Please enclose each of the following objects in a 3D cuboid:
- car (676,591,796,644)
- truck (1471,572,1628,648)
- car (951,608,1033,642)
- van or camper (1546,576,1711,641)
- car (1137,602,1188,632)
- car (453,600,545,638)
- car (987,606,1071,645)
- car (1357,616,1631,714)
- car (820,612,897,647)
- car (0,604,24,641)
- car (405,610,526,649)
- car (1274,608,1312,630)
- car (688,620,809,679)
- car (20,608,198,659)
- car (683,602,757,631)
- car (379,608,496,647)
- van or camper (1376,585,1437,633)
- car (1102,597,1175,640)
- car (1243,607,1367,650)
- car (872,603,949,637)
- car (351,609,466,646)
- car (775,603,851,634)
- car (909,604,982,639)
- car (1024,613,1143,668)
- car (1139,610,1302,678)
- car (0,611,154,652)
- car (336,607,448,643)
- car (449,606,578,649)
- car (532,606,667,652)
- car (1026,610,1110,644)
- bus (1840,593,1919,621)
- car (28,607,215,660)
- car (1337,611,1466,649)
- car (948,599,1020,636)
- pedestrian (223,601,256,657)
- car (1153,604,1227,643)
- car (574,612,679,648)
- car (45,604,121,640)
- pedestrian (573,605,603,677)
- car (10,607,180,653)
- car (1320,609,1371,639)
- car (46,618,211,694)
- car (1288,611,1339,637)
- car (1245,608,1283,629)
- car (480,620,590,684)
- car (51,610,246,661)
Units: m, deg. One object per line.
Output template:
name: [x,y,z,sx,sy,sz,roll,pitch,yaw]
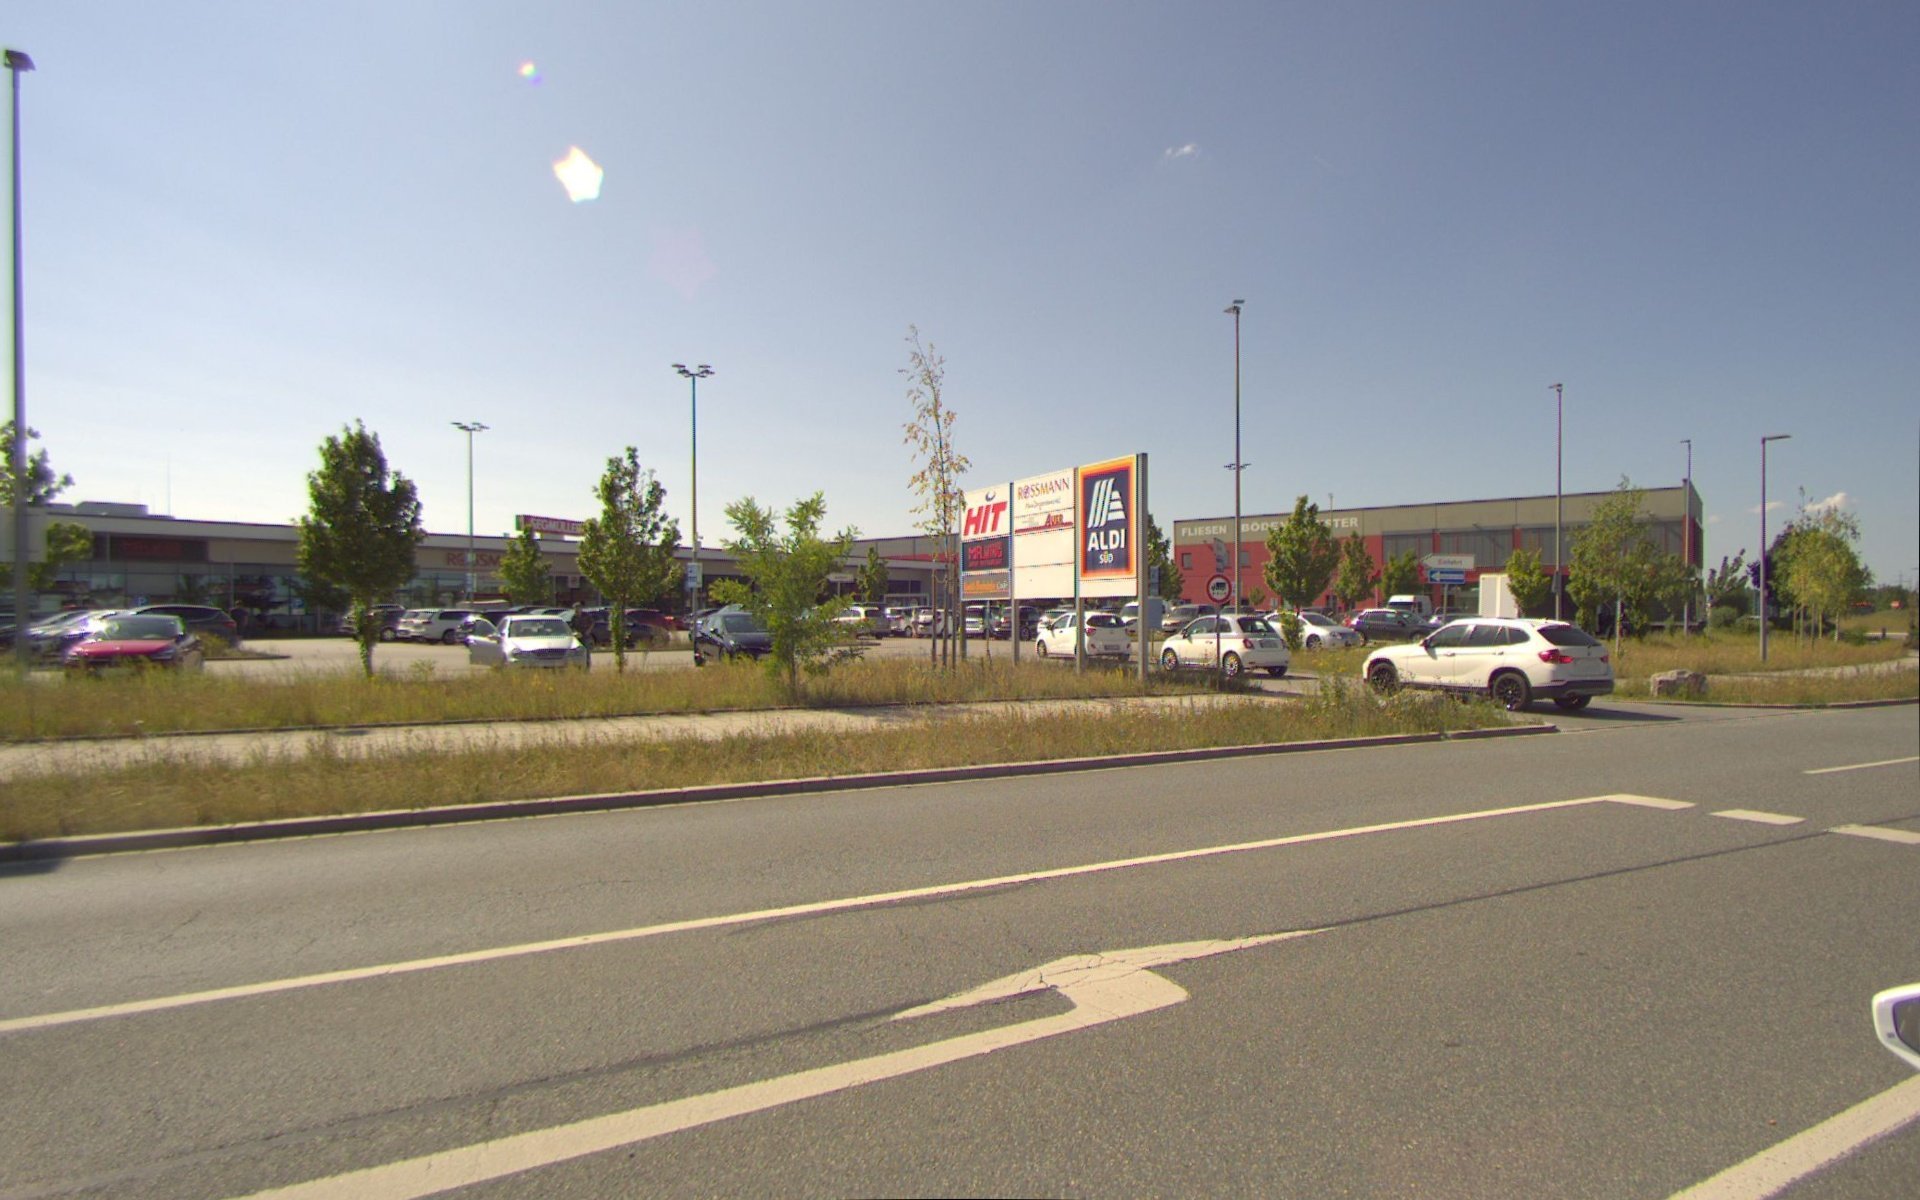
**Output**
car: [-9.020,0.713,40.891,1.691,2.012,4.814,-1,-1,38]
truck: [28.847,0.524,49.142,7.375,3.510,2.315,1,-1,-18]
car: [1.673,1.229,50.689,1.889,1.639,4.361,0,-1,40]
van or camper: [38.506,0.485,58.047,7.613,3.514,2.540,0,-1,45]
car: [14.222,1.175,70.510,1.809,2.021,4.365,0,-1,37]
car: [-25.294,1.019,55.184,1.691,1.985,4.336,-1,-1,38]
car: [3.381,1.217,48.713,1.889,1.827,4.361,0,-1,40]
car: [9.623,1.090,18.499,1.891,1.568,4.201,1,-1,-24]
car: [-4.898,1.380,48.245,1.825,1.568,3.955,1,-1,-39]
car: [-43.958,1.011,45.258,4.282,1.647,1.712,-1,-1,35]
car: [-20.981,1.219,42.778,1.691,1.565,4.336,-1,-1,38]
car: [25.784,1.489,77.626,1.639,1.636,4.069,0,-1,36]
car: [-5.580,1.225,26.185,1.914,1.366,4.124,0,-1,-30]
car: [-28.528,1.085,33.783,1.691,1.592,4.336,-1,-1,38]
car: [-15.096,1.059,63.356,1.886,1.784,4.367,0,-1,35]
car: [-23.170,1.189,44.682,1.691,1.637,4.336,-1,-1,38]
van or camper: [32.874,0.677,73.766,2.400,3.314,7.205,0,-1,38]
car: [9.166,0.956,51.338,1.810,2.092,4.361,0,-1,40]
car: [13.021,1.049,38.212,1.813,1.532,4.592,1,-1,-25]
car: [-2.621,1.063,54.021,1.885,1.749,4.369,0,-1,34]
car: [-25.351,1.221,46.305,1.691,1.623,4.336,-1,-1,38]
car: [-8.556,1.101,58.834,1.886,1.748,4.367,0,-1,35]
car: [-0.702,1.122,52.267,1.883,1.740,4.374,0,-1,30]
car: [3.790,1.217,31.440,1.892,1.568,3.975,1,-1,-25]
car: [6.503,1.056,25.488,1.892,1.568,3.974,1,-1,-26]
car: [-32.744,1.125,37.158,1.691,1.436,4.336,-1,-1,38]
car: [-27.000,1.166,47.895,1.757,1.616,4.336,-1,-1,38]
car: [-17.282,1.026,39.043,1.691,1.581,4.336,-1,-1,38]
car: [-12.861,1.018,36.053,1.691,1.536,4.336,-1,-1,38]
car: [5.078,1.235,46.795,1.810,1.532,4.361,0,-1,40]
bus: [118.006,0.888,128.498,12.018,3.120,2.783,-2,0,-21]
car: [-26.562,1.014,31.939,1.691,1.570,4.336,-1,-1,38]
car: [17.829,1.176,40.739,1.820,1.478,4.545,1,-1,-35]
car: [1.451,1.021,58.958,1.810,2.051,4.612,0,-1,40]
pedestrian: [-24.293,0.976,33.850,0.562,1.848,0.777,0,-1,40]
car: [11.445,1.137,49.732,1.810,1.848,4.361,0,-1,40]
car: [-15.157,1.337,45.814,1.691,1.596,4.336,-1,-1,38]
car: [-41.858,1.055,47.913,4.282,1.655,1.712,-1,-1,35]
pedestrian: [-9.160,0.995,24.703,0.572,1.717,0.761,1,-1,-30]
car: [-30.491,1.024,35.537,1.691,1.553,4.336,-1,-1,38]
car: [24.039,1.507,62.563,1.809,1.797,4.365,0,-1,37]
car: [-16.737,1.056,20.439,1.914,1.366,4.124,0,-1,-30]
car: [22.535,1.518,63.913,1.809,1.583,4.365,0,-1,37]
car: [24.132,1.467,79.602,1.639,1.636,4.069,0,-1,36]
car: [-10.141,1.158,23.785,1.914,1.366,4.124,0,-1,-30]
car: [-24.386,1.027,30.333,1.691,1.436,4.336,-1,-1,38]
